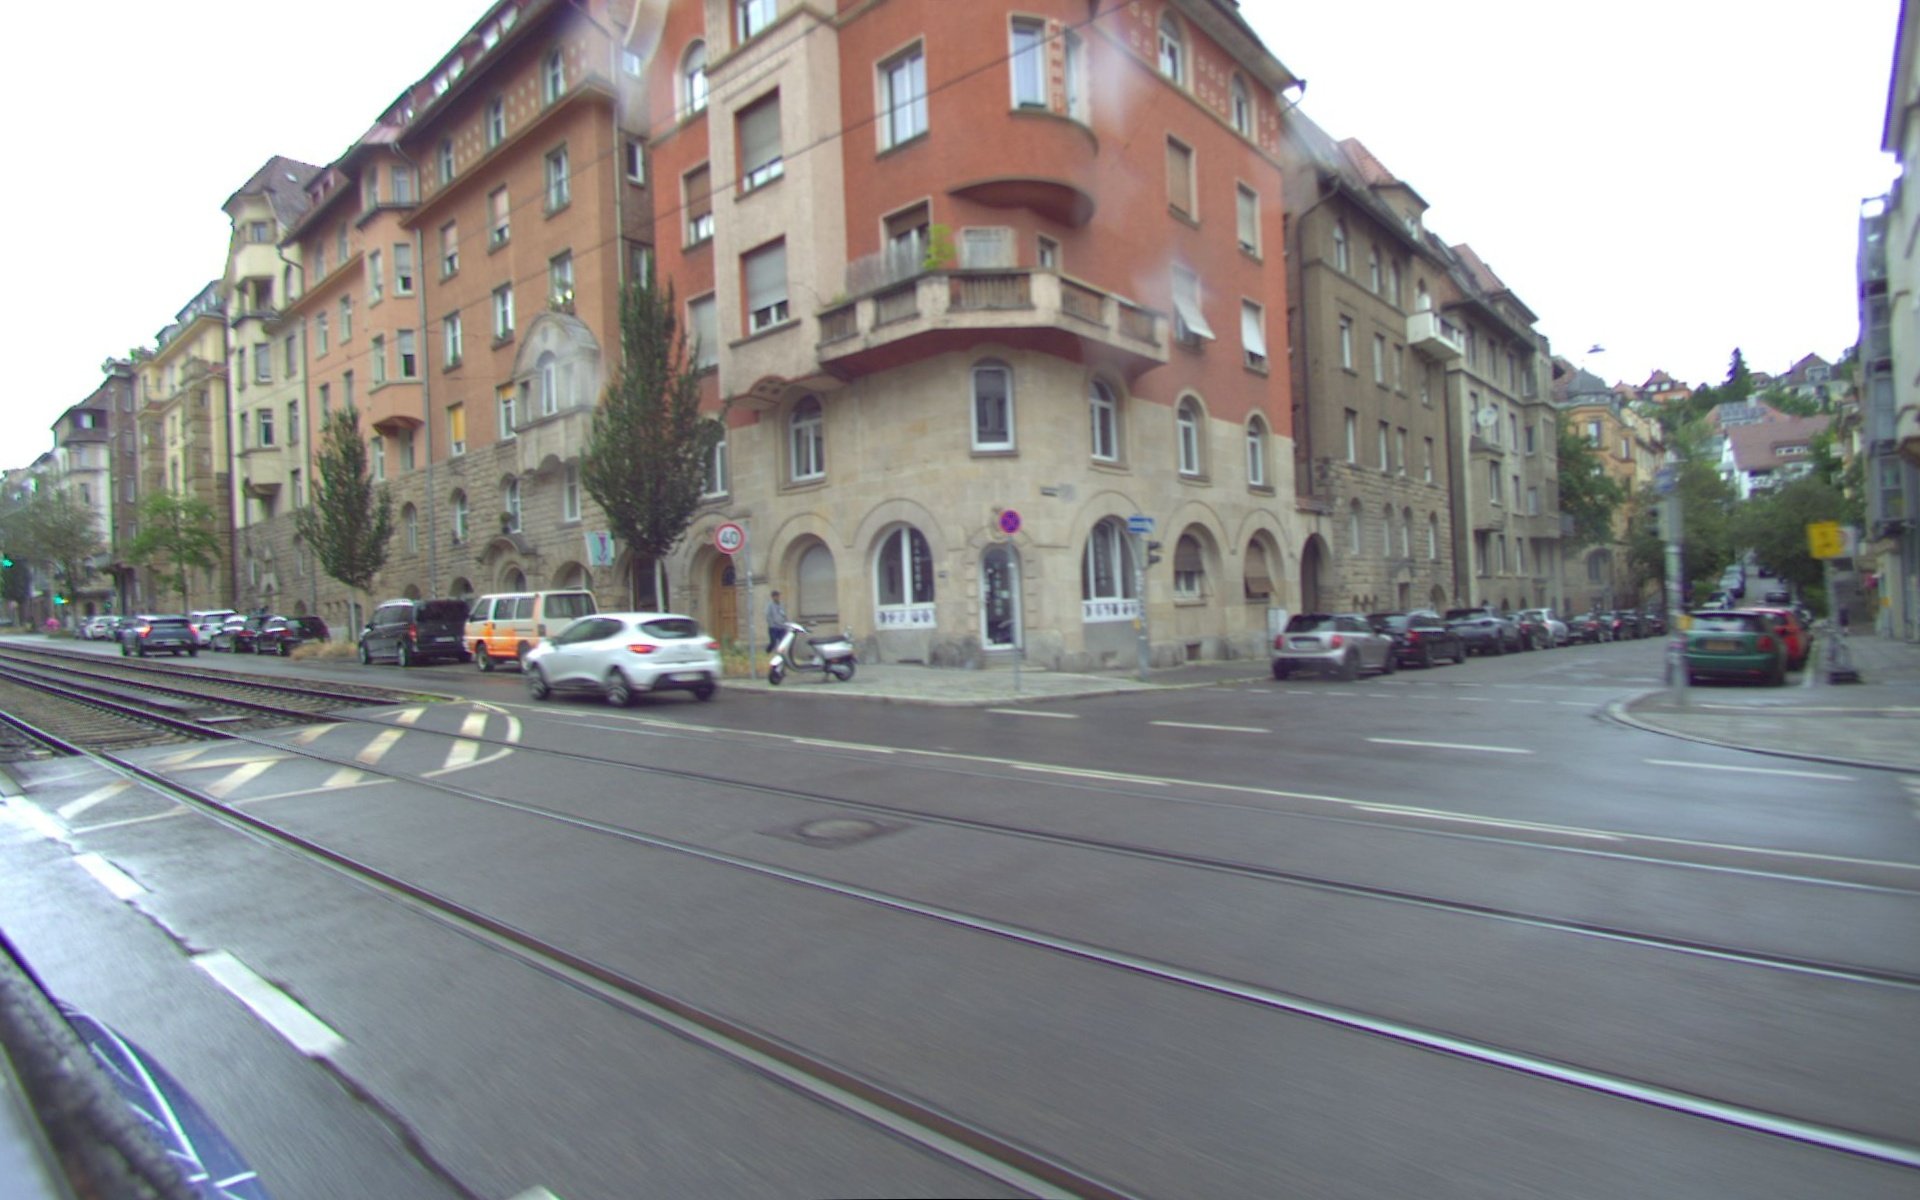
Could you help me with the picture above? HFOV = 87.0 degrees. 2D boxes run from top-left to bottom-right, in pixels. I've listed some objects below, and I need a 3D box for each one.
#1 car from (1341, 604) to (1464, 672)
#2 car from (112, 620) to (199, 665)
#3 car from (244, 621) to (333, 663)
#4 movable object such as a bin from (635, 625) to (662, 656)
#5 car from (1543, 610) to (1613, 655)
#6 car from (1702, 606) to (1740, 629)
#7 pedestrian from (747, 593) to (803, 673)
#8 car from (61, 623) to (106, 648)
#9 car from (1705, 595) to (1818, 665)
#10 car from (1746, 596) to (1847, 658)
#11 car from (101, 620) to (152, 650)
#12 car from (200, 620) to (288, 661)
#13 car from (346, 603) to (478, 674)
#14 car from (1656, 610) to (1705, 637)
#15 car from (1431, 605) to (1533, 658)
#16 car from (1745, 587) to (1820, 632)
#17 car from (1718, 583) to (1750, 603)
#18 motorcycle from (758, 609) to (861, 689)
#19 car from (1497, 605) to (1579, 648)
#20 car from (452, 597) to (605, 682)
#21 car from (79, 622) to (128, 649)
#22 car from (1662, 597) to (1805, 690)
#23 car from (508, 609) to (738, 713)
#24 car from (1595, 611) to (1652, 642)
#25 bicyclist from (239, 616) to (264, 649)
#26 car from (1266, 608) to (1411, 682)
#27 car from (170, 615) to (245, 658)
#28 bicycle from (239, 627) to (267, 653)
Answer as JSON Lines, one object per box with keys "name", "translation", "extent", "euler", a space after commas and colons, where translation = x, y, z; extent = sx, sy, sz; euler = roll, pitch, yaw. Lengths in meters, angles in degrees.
{"name": "car", "translation": [11.395, 0.915, 25.924], "extent": [1.997, 1.586, 3.950], "euler": [-1, -1, 37]}
{"name": "car", "translation": [-31.344, 1.618, 39.396], "extent": [4.125, 1.629, 1.902], "euler": [-1, -1, 40]}
{"name": "car", "translation": [-25.357, 1.543, 38.197], "extent": [3.691, 1.414, 1.738], "euler": [-1, 2, 39]}
{"name": "movable object such as a bin", "translation": [-9.348, 1.209, 30.387], "extent": [0.656, 0.905, 0.540], "euler": [-1, -1, 44]}
{"name": "car", "translation": [28.058, 1.422, 45.916], "extent": [2.070, 1.921, 3.945], "euler": [-1, -1, 41]}
{"name": "car", "translation": [54.509, 1.208, 72.483], "extent": [1.998, 1.586, 3.947], "euler": [-1, -1, 39]}
{"name": "pedestrian", "translation": [-4.206, 0.739, 23.029], "extent": [0.892, 1.732, 0.709], "euler": [-1, 5, 42]}
{"name": "car", "translation": [-55.771, 2.232, 64.386], "extent": [3.712, 1.438, 1.736], "euler": [-1, 3, 43]}
{"name": "car", "translation": [19.938, 0.691, 25.118], "extent": [1.999, 1.586, 3.945], "euler": [-1, -1, 41]}
{"name": "car", "translation": [23.049, 0.695, 27.838], "extent": [1.999, 1.586, 3.945], "euler": [-1, -1, 41]}
{"name": "car", "translation": [-47.237, 1.974, 57.337], "extent": [3.712, 1.493, 1.695], "euler": [-1, 3, 43]}
{"name": "car", "translation": [-29.207, 1.594, 41.240], "extent": [4.594, 1.502, 1.738], "euler": [-1, 2, 40]}
{"name": "car", "translation": [-16.290, 1.086, 29.986], "extent": [4.830, 1.945, 1.886], "euler": [-1, -1, 41]}
{"name": "car", "translation": [43.240, 1.385, 60.708], "extent": [1.999, 1.586, 3.945], "euler": [-1, -1, 41]}
{"name": "car", "translation": [16.672, 0.957, 32.241], "extent": [1.999, 1.586, 3.945], "euler": [-1, -1, 41]}
{"name": "car", "translation": [30.691, 0.344, 37.724], "extent": [1.999, 1.586, 3.945], "euler": [-1, -1, 41]}
{"name": "car", "translation": [66.092, -0.571, 86.409], "extent": [1.998, 1.586, 3.947], "euler": [-1, -1, 39]}
{"name": "motorcycle", "translation": [-2.735, 0.859, 18.371], "extent": [1.754, 1.385, 0.770], "euler": [0, -1, -17]}
{"name": "car", "translation": [22.598, 1.008, 39.496], "extent": [1.999, 1.586, 3.945], "euler": [-1, -1, 41]}
{"name": "car", "translation": [-10.847, 0.922, 25.290], "extent": [4.473, 1.945, 1.711], "euler": [-1, -1, 40]}
{"name": "car", "translation": [-51.945, 2.108, 61.372], "extent": [4.043, 1.462, 1.736], "euler": [-1, 3, 43]}
{"name": "car", "translation": [14.927, 0.763, 19.584], "extent": [1.997, 1.586, 3.949], "euler": [-1, -1, 38]}
{"name": "car", "translation": [-5.668, 0.918, 16.806], "extent": [4.059, 1.514, 1.763], "euler": [-1, -1, 40]}
{"name": "car", "translation": [35.350, 1.387, 53.891], "extent": [1.999, 1.586, 3.945], "euler": [-1, -1, 41]}
{"name": "bicyclist", "translation": [-35.749, 1.643, 51.087], "extent": [0.774, 1.613, 0.883], "euler": [-1, -1, 41]}
{"name": "car", "translation": [8.489, 0.937, 22.524], "extent": [1.746, 1.478, 3.945], "euler": [-1, -1, 41]}
{"name": "car", "translation": [-33.472, 1.581, 44.996], "extent": [4.257, 1.684, 1.737], "euler": [-1, 2, 41]}
{"name": "bicycle", "translation": [-35.681, 2.011, 51.071], "extent": [2.052, 1.231, 0.685], "euler": [-1, -1, 42]}
